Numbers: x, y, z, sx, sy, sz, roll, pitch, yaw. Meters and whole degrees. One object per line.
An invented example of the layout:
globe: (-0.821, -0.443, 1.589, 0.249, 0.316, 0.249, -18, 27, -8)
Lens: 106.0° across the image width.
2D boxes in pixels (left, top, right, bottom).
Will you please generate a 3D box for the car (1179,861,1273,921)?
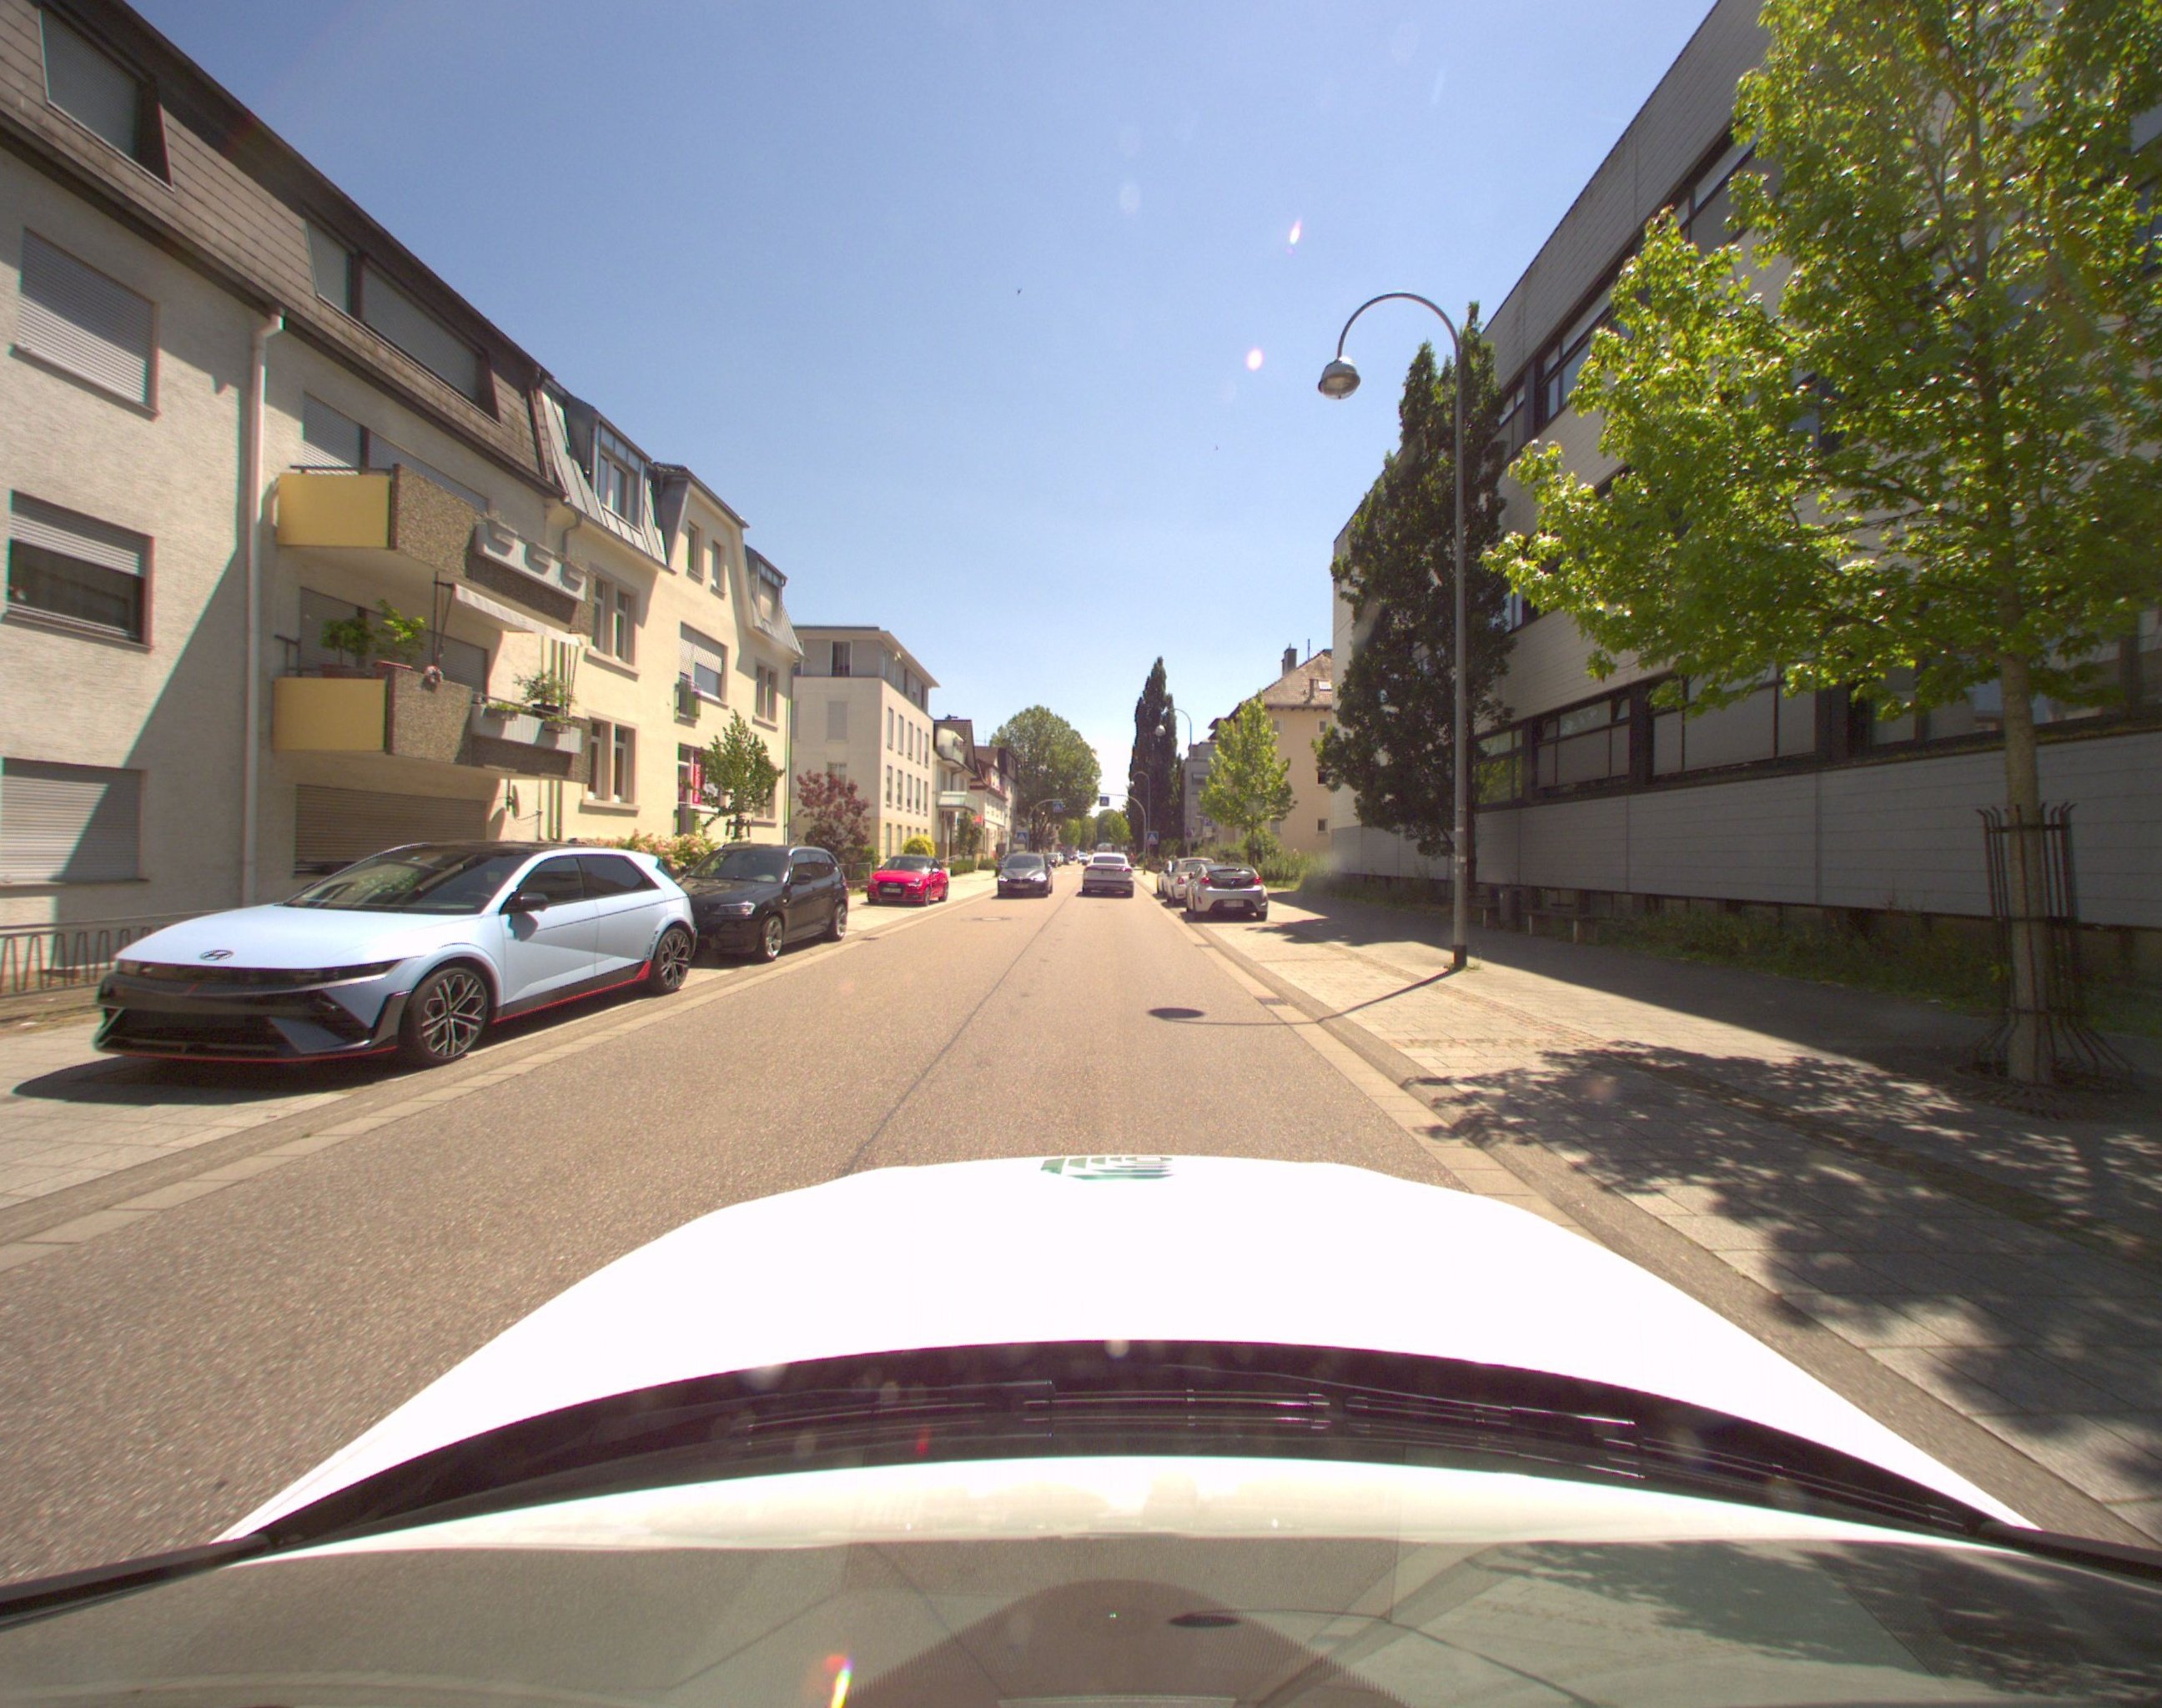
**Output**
car: (3.686, 0.896, 21.326, 1.855, 1.373, 4.001, 0, 0, 1)

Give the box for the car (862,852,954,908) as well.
car: (-5.070, 0.709, 24.391, 1.643, 1.419, 3.908, 3, 0, 3)

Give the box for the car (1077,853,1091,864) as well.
car: (0.445, 0.612, 120.920, 1.972, 1.520, 4.000, 1, 0, 0)

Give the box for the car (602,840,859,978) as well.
car: (-5.023, 0.670, 12.500, 1.718, 1.619, 4.573, 4, 0, 2)

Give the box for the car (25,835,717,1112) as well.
car: (-5.376, 0.710, 7.292, 1.918, 1.572, 4.661, 3, 0, 2)

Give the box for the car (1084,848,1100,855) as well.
car: (2.833, -0.687, 209.823, 3.964, 1.651, 2.005, 1, 0, 8)

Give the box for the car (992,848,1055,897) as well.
car: (-2.042, 0.632, 30.203, 1.967, 1.670, 4.472, 0, 0, 0)

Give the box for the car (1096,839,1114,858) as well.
car: (2.940, -0.655, 100.695, 2.063, 2.197, 5.137, -2, 0, 0)

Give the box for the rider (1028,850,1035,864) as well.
rider: (-5.492, 0.346, 90.518, 0.659, 1.553, 0.661, 1, 0, 1)

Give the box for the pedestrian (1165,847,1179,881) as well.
pedestrian: (4.817, 0.520, 42.935, 0.636, 1.758, 0.616, 1, 0, -3)

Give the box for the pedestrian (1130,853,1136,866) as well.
pedestrian: (6.874, 0.691, 107.526, 0.692, 1.736, 0.667, 1, 0, -3)

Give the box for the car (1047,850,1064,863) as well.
car: (-3.233, 0.324, 102.924, 1.987, 1.520, 4.000, 1, 0, 0)

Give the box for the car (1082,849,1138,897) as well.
car: (1.126, 0.671, 31.763, 1.929, 1.614, 4.474, 3, 0, 2)

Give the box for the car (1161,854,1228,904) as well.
car: (3.674, 0.759, 27.001, 1.653, 1.488, 4.346, -1, 0, 1)

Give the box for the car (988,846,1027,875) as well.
car: (-4.594, 0.376, 51.626, 1.918, 1.720, 4.474, 0, 0, 2)

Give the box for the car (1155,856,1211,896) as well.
car: (3.919, 0.815, 31.938, 1.720, 1.383, 4.402, -1, 0, 1)

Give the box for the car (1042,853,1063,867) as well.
car: (-2.963, 0.606, 85.251, 1.987, 1.349, 4.000, 1, 0, 0)

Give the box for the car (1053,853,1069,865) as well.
car: (-2.633, 0.702, 109.111, 1.987, 1.520, 4.000, 1, 0, 0)
